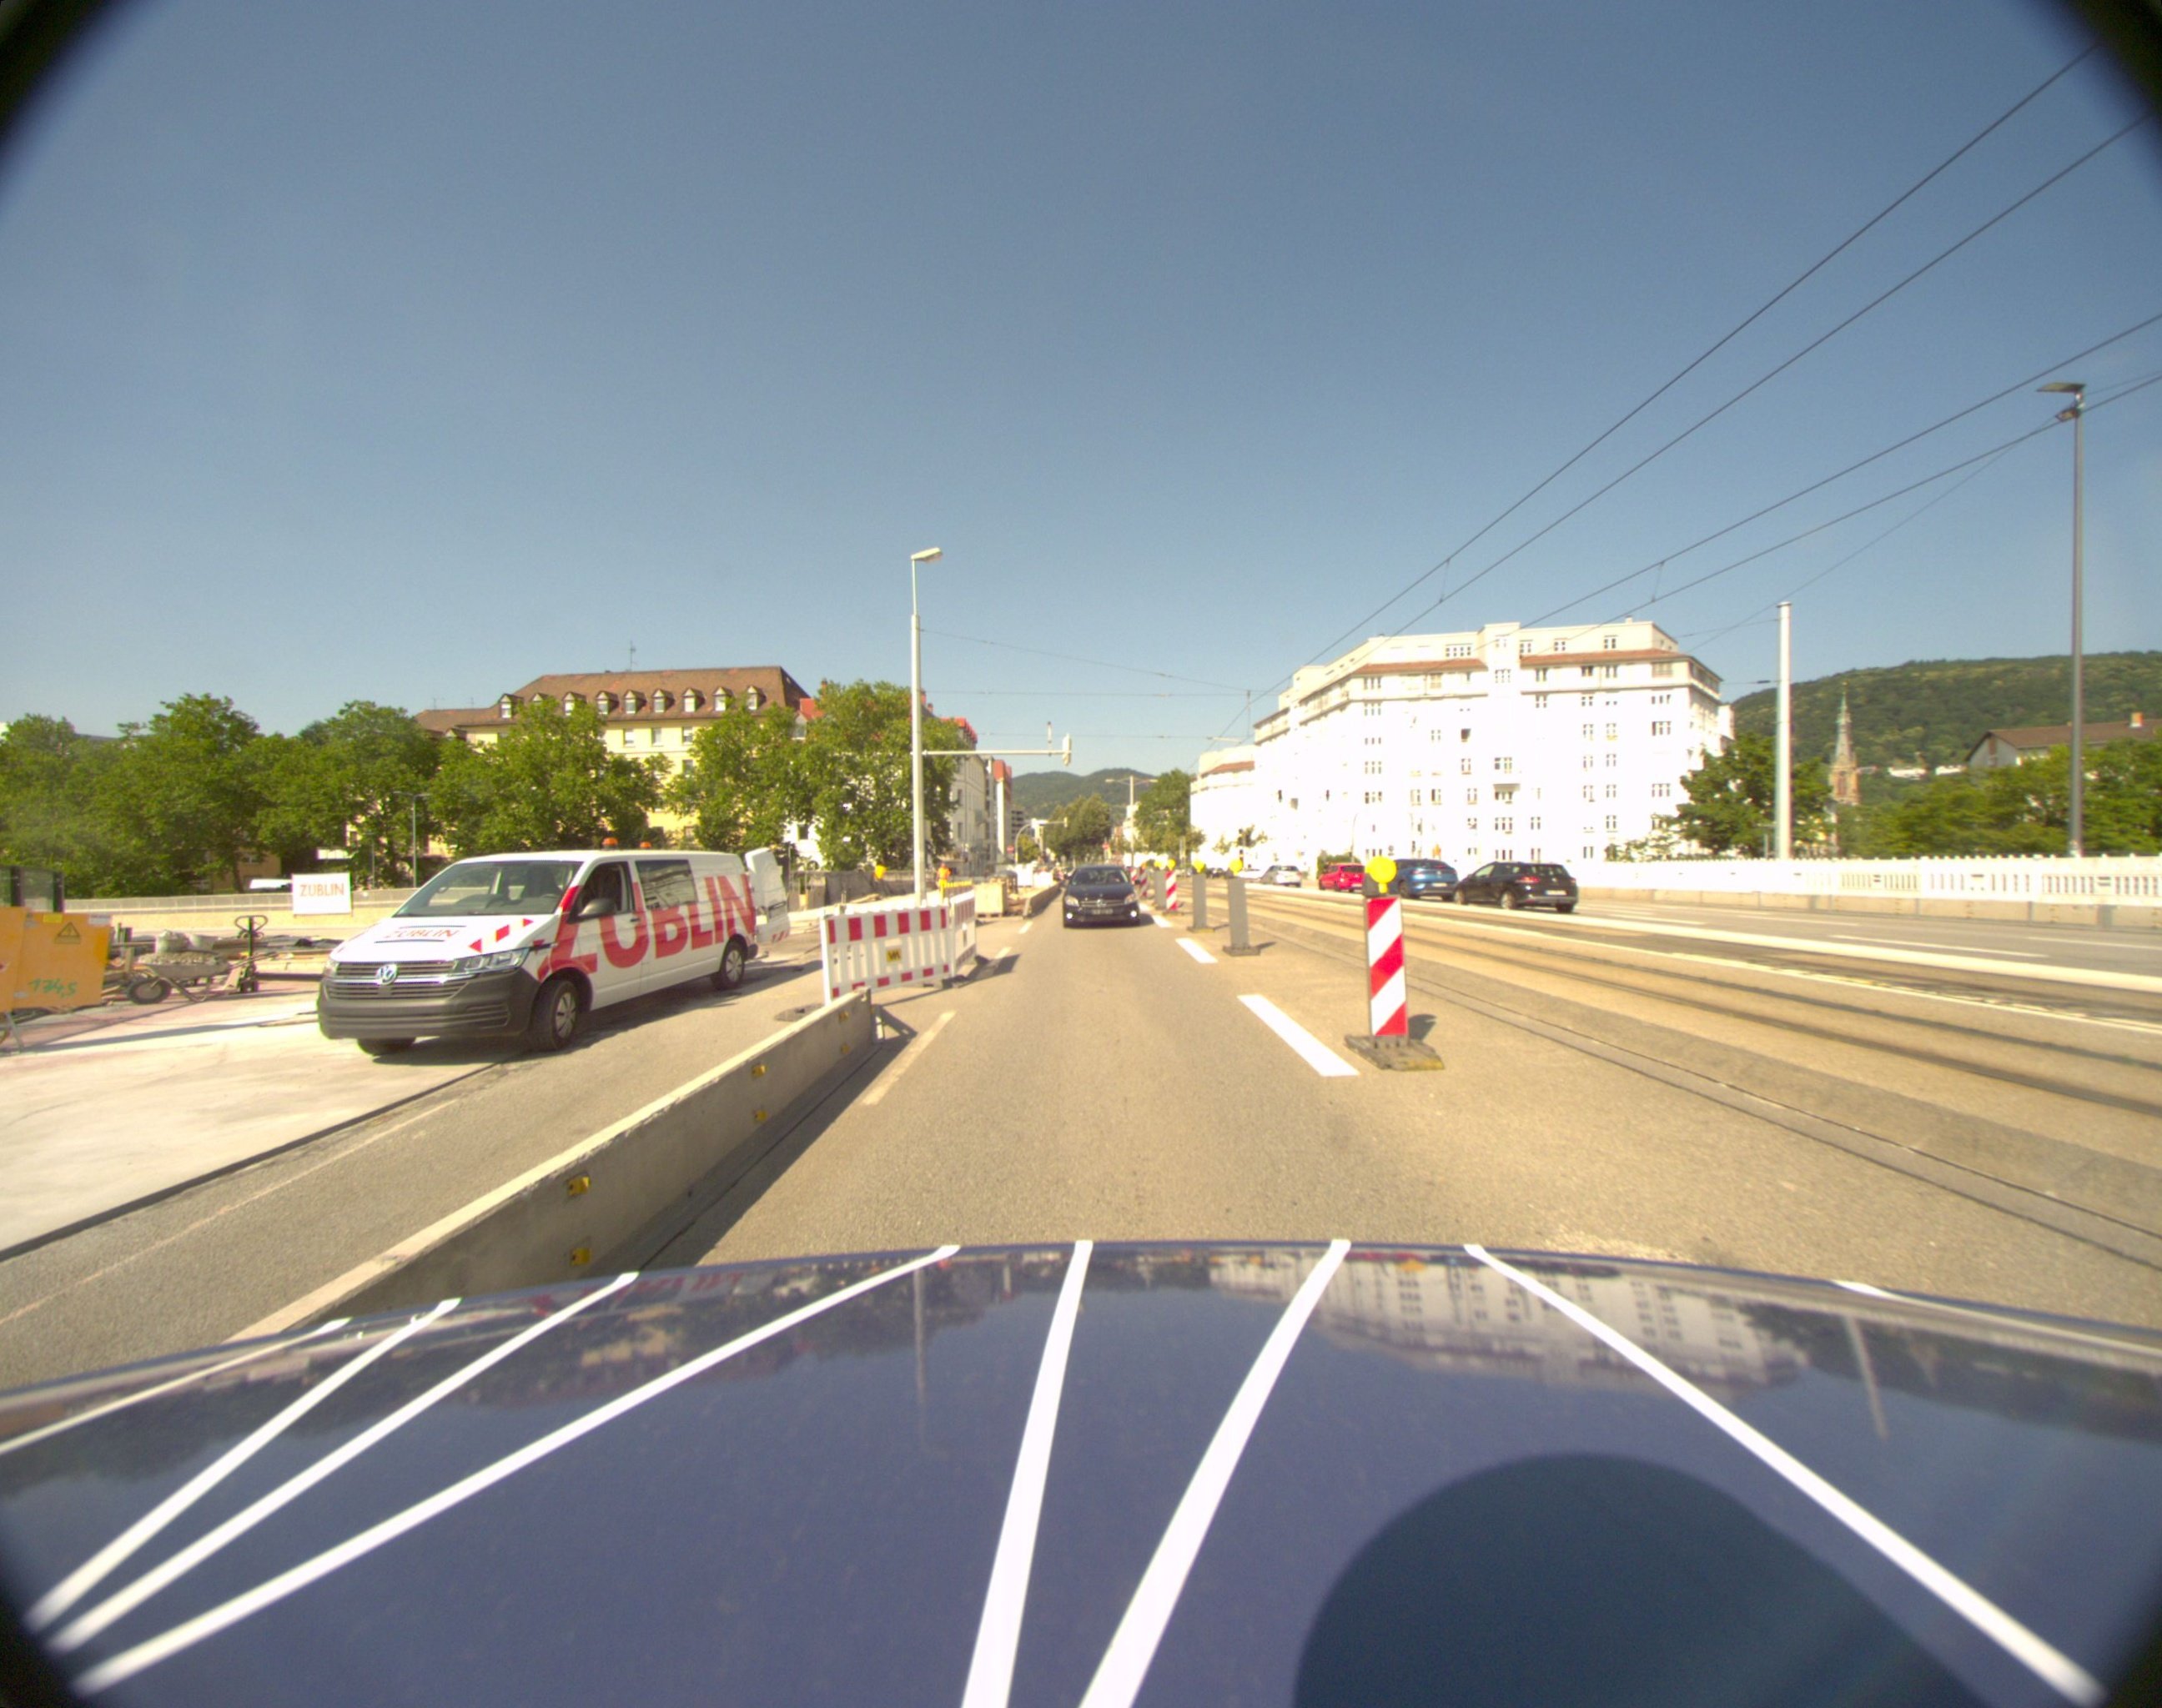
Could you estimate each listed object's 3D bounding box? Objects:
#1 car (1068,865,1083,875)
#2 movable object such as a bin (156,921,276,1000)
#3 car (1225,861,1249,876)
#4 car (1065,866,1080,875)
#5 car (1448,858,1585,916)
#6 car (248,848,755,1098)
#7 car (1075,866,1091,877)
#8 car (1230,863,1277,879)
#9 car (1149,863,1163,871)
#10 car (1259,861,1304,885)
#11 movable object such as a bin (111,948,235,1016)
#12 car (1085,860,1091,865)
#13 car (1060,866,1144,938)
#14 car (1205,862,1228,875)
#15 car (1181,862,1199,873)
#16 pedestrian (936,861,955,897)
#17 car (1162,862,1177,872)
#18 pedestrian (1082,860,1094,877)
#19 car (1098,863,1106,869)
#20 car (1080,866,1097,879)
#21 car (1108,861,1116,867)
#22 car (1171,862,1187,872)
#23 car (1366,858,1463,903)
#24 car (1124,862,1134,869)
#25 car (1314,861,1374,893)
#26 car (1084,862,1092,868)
[{"bbox_3d":[-0.793,2.168,102.425,1.767,1.346,3.999,-2,-1,-4],"label":"car"},{"bbox_3d":[-14.141,1.745,12.415,2.038,1.123,0.609,-5,1,23],"label":"movable object such as a bin"},{"bbox_3d":[18.017,1.699,87.747,1.740,1.628,3.739,-1,0,-5],"label":"car"},{"bbox_3d":[-1.283,2.368,109.741,1.768,1.346,3.998,-2,-1,-6],"label":"car"},{"bbox_3d":[12.257,0.872,21.730,1.509,1.491,4.178,1,0,0],"label":"car"},{"bbox_3d":[-5.865,0.986,8.750,1.883,2.021,4.891,-2,0,2],"label":"car"},{"bbox_3d":[0.228,2.181,96.120,1.767,1.346,4.000,-2,-1,-2],"label":"car"},{"bbox_3d":[16.448,1.605,72.619,1.705,1.403,4.475,0,0,-30],"label":"car"},{"bbox_3d":[13.543,2.309,137.132,1.740,1.475,3.739,-1,-1,-5],"label":"car"},{"bbox_3d":[12.723,1.187,48.451,1.642,1.428,4.644,1,0,0],"label":"car"},{"bbox_3d":[-13.248,1.841,11.119,0.754,0.837,1.107,-1,-3,40],"label":"movable object such as a bin"},{"bbox_3d":[2.418,2.810,257.227,1.798,1.672,3.740,-1,0,-3],"label":"car"},{"bbox_3d":[0.575,1.052,18.239,1.702,1.399,4.624,-3,0,3],"label":"car"},{"bbox_3d":[17.148,1.821,96.282,1.740,1.628,3.738,-1,0,-7],"label":"car"},{"bbox_3d":[15.541,1.935,108.769,1.740,1.475,3.739,-1,-1,-5],"label":"car"},{"bbox_3d":[-6.934,1.272,38.866,0.821,1.784,0.864,1,0,0],"label":"pedestrian"},{"bbox_3d":[14.398,2.120,124.226,1.740,1.475,3.739,-1,-1,-5],"label":"car"},{"bbox_3d":[0.688,1.424,76.211,1.003,1.697,0.822,-1,1,-7],"label":"pedestrian"},{"bbox_3d":[4.958,2.840,179.946,1.696,1.546,3.655,0,-1,-3],"label":"car"},{"bbox_3d":[0.834,1.993,82.591,1.766,1.313,4.001,-2,-1,1],"label":"car"},{"bbox_3d":[8.102,2.644,196.691,1.739,1.475,3.740,-1,-1,-3],"label":"car"},{"bbox_3d":[15.035,2.048,116.997,1.740,1.475,3.739,-1,-1,-5],"label":"car"},{"bbox_3d":[12.362,0.944,28.497,1.674,1.541,4.556,0,0,0],"label":"car"},{"bbox_3d":[10.711,2.615,168.826,1.740,1.475,3.739,-1,-1,-5],"label":"car"},{"bbox_3d":[12.839,1.090,37.301,1.537,1.429,3.980,1,0,0],"label":"car"},{"bbox_3d":[2.002,3.187,217.256,1.798,1.475,3.740,-1,-1,-3],"label":"car"}]
